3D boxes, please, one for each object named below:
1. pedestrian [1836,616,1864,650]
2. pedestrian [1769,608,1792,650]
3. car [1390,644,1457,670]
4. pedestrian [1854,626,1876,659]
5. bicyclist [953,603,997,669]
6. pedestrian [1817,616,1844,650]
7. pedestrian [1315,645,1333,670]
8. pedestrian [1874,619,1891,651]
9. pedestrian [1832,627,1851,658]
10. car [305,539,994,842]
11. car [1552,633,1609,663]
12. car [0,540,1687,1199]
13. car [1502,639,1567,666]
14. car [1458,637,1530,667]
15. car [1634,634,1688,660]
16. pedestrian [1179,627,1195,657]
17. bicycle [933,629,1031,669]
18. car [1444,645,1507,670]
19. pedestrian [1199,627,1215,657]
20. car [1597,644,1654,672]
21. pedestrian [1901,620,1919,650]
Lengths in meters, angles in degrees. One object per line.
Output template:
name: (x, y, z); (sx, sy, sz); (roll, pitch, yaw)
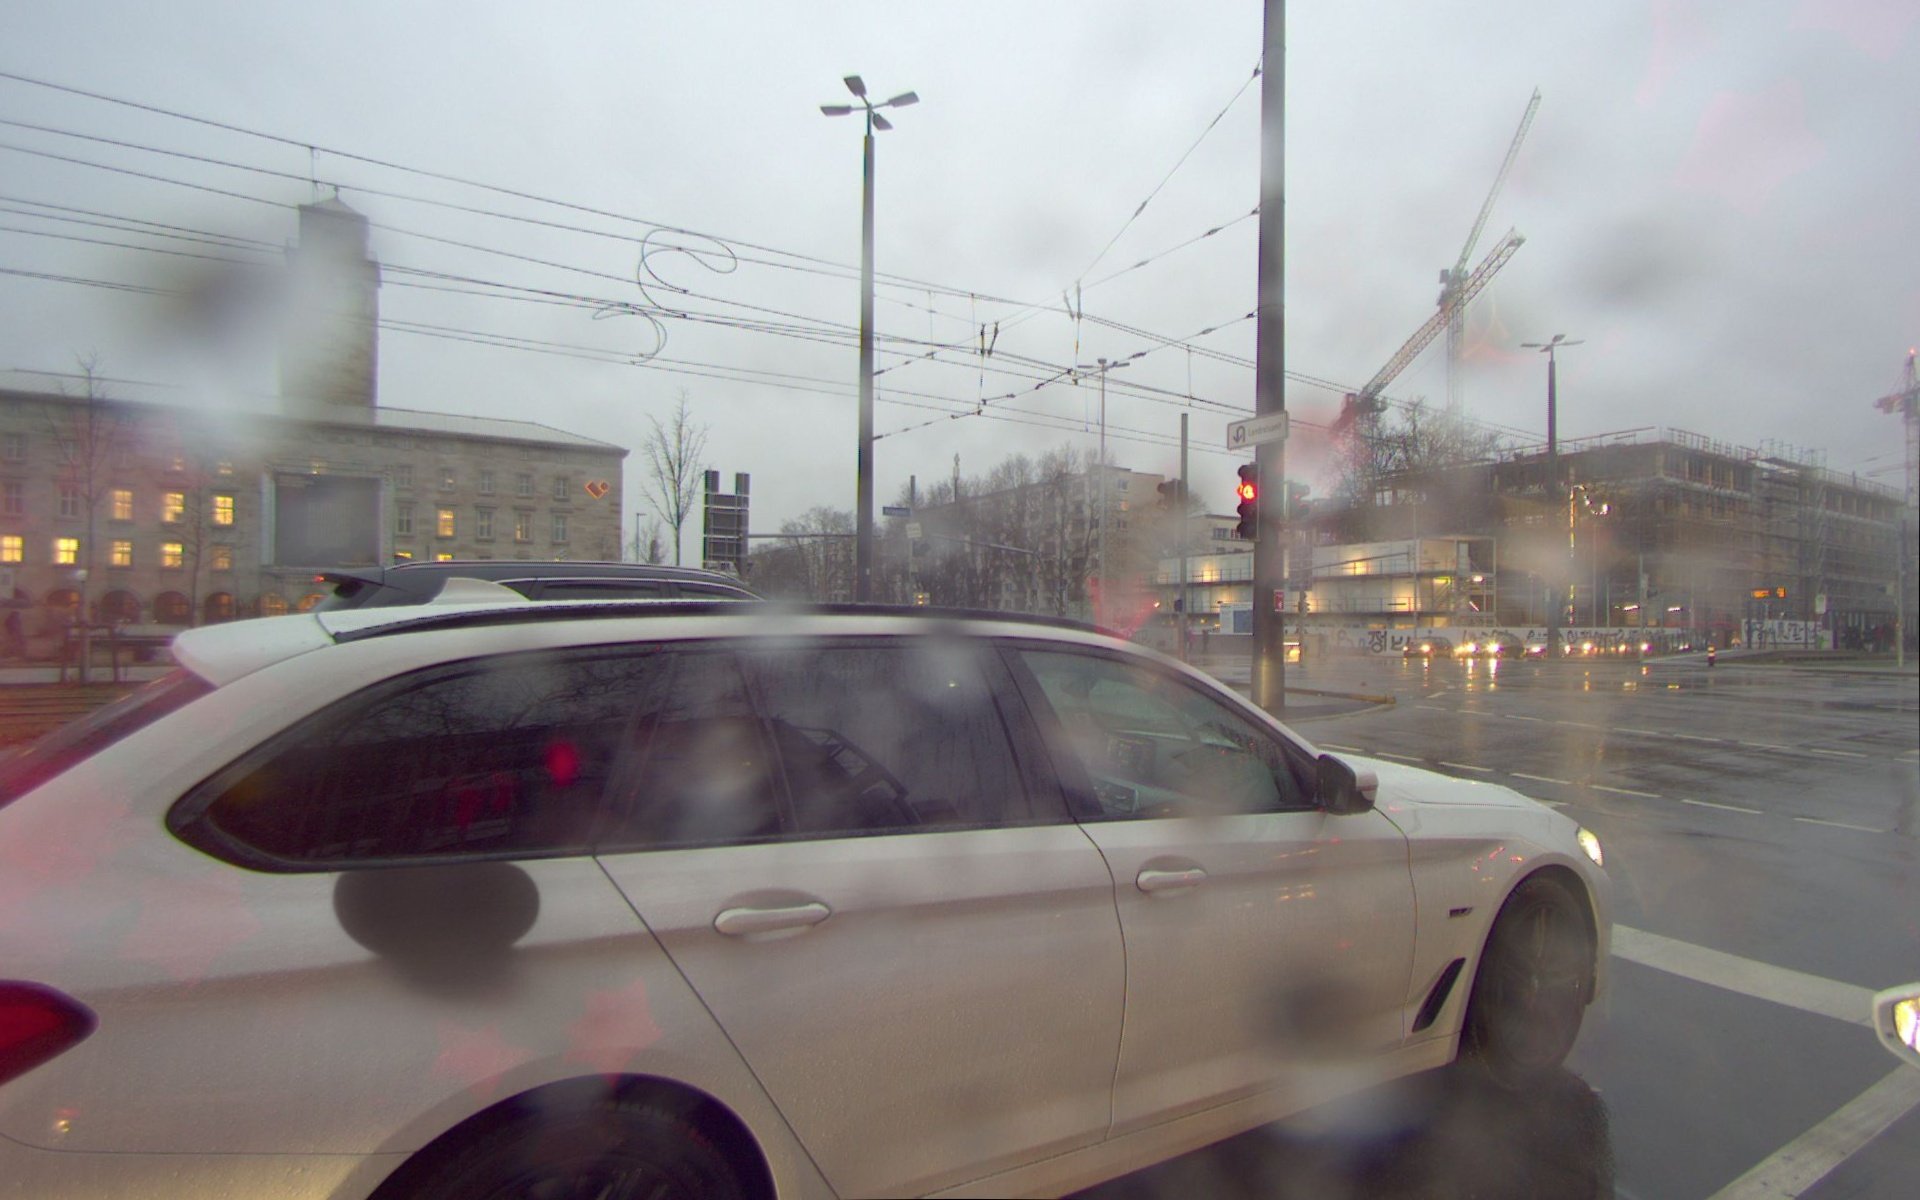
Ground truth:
pedestrian: (55.505, 2.071, 62.643); (1.081, 2.040, 0.937); (2, 0, -30)
pedestrian: (47.240, 1.665, 57.811); (0.754, 2.354, 0.761); (3, -1, -30)
car: (29.415, 3.586, 63.741); (3.953, 1.550, 1.984); (2, -2, -30)
pedestrian: (55.092, 2.590, 61.143); (0.754, 1.922, 0.761); (3, -1, -30)
bicyclist: (0.436, 1.062, 29.850); (1.139, 1.896, 0.744); (2, 0, -10)
pedestrian: (53.360, 2.000, 61.550); (1.082, 2.040, 0.937); (2, 0, -31)
pedestrian: (21.523, 3.407, 59.422); (0.712, 1.407, 0.728); (2, 0, -15)
pedestrian: (57.931, 2.202, 63.070); (0.659, 1.994, 0.566); (2, 1, -36)
pedestrian: (54.279, 2.618, 61.853); (0.547, 1.906, 0.695); (2, 0, -30)
car: (-2.071, 0.554, 7.229); (4.238, 1.605, 1.958); (2, -1, -29)
car: (41.002, 3.168, 66.378); (3.963, 1.852, 1.852); (2, 0, -37)
car: (0.014, 0.747, 3.079); (4.508, 1.506, 2.007); (2, -2, -31)
car: (35.878, 3.254, 62.712); (4.577, 1.550, 2.059); (2, -2, -40)
car: (31.449, 3.075, 59.139); (3.953, 1.679, 1.984); (2, -2, -30)
car: (51.629, 3.434, 73.970); (3.959, 1.814, 1.981); (2, 0, -34)
pedestrian: (16.038, 2.979, 71.018); (0.620, 2.040, 0.856); (2, 0, -37)
bicycle: (0.659, 1.459, 29.910); (2.814, 1.114, 0.744); (2, 0, -10)
car: (34.703, 3.861, 67.577); (3.953, 1.550, 1.984); (2, -2, -30)
pedestrian: (17.306, 2.919, 70.303); (0.737, 2.040, 0.783); (2, 0, -25)
car: (47.008, 4.059, 70.965); (3.959, 1.814, 1.981); (2, 0, -34)
pedestrian: (66.119, 2.428, 69.743); (1.084, 2.040, 0.935); (2, 0, -37)
